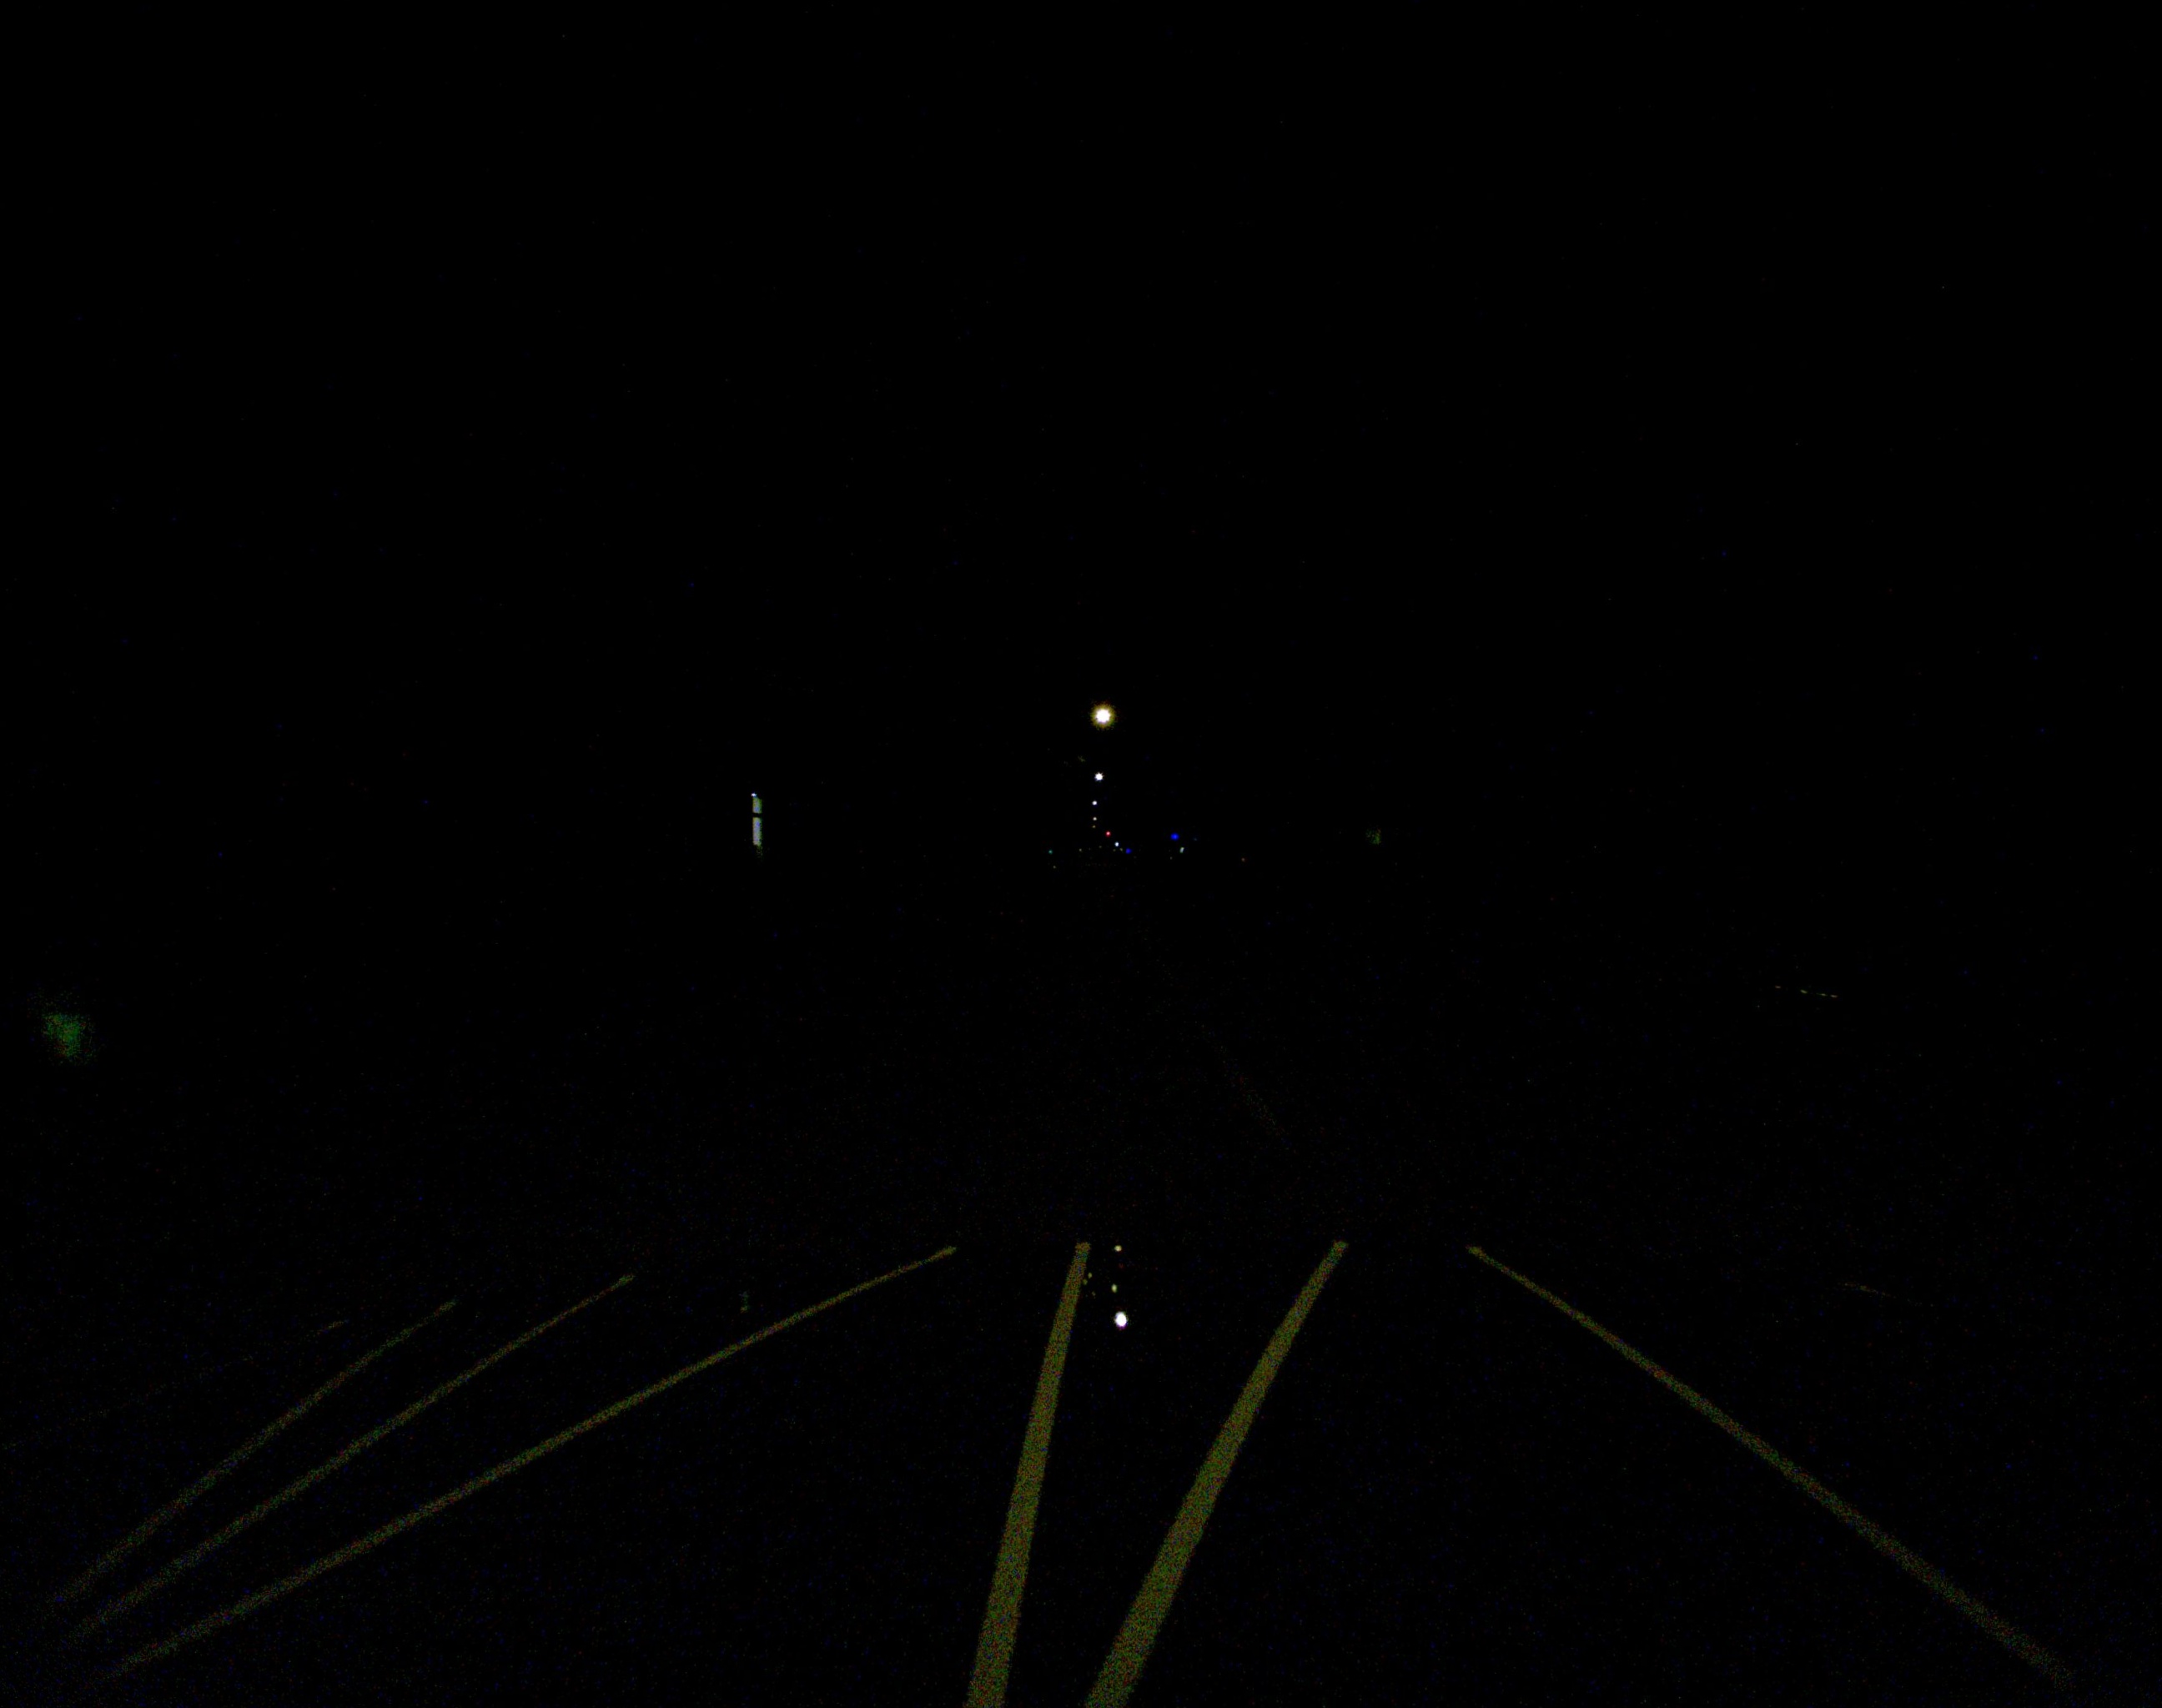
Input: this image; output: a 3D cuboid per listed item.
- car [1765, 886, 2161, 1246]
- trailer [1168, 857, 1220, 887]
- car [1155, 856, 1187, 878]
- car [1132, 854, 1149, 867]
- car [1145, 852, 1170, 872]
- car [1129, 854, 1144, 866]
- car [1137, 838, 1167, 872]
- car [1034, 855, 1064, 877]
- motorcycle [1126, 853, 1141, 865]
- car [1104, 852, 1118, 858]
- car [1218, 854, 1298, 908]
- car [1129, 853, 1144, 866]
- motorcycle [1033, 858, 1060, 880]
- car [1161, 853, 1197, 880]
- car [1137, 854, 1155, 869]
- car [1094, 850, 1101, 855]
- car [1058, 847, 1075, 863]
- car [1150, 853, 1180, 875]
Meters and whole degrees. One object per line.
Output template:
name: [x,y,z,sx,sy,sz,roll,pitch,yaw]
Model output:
car: [5.596,0.979,3.324,1.704,1.425,3.828,-3,0,0]
trailer: [5.955,0.893,40.712,2.115,1.327,5.435,-3,0,2]
car: [6.324,0.858,53.744,1.709,1.403,4.633,-1,0,0]
car: [6.815,0.723,86.979,1.551,1.447,3.368,-2,0,0]
car: [6.498,0.623,64.811,1.746,1.597,4.115,0,1,0]
car: [6.793,0.720,93.550,1.448,1.421,3.903,-3,0,0]
car: [6.477,0.083,70.146,2.184,2.892,4.909,-2,0,0]
car: [-2.225,0.827,53.441,1.672,1.420,4.148,1,0,3]
motorcycle: [7.428,0.713,107.572,1.909,1.541,0.638,-3,1,-19]
car: [8.106,0.171,206.894,3.763,1.577,1.634,0,1,-3]
car: [5.842,0.821,25.518,1.826,1.589,4.073,-2,0,2]
car: [7.115,0.685,97.606,1.646,1.496,3.903,-3,0,0]
motorcycle: [-2.189,0.930,47.720,0.930,1.276,2.230,-2,1,-24]
car: [6.243,0.766,48.717,1.721,1.493,4.205,-3,0,0]
car: [6.881,0.766,80.577,1.649,1.496,3.861,-2,0,0]
car: [4.859,-0.435,224.261,1.936,1.646,3.833,0,1,0]
car: [-1.804,0.156,95.884,1.956,1.952,4.603,-1,0,0]
car: [6.508,0.720,59.134,1.746,1.597,4.297,-1,0,-1]
